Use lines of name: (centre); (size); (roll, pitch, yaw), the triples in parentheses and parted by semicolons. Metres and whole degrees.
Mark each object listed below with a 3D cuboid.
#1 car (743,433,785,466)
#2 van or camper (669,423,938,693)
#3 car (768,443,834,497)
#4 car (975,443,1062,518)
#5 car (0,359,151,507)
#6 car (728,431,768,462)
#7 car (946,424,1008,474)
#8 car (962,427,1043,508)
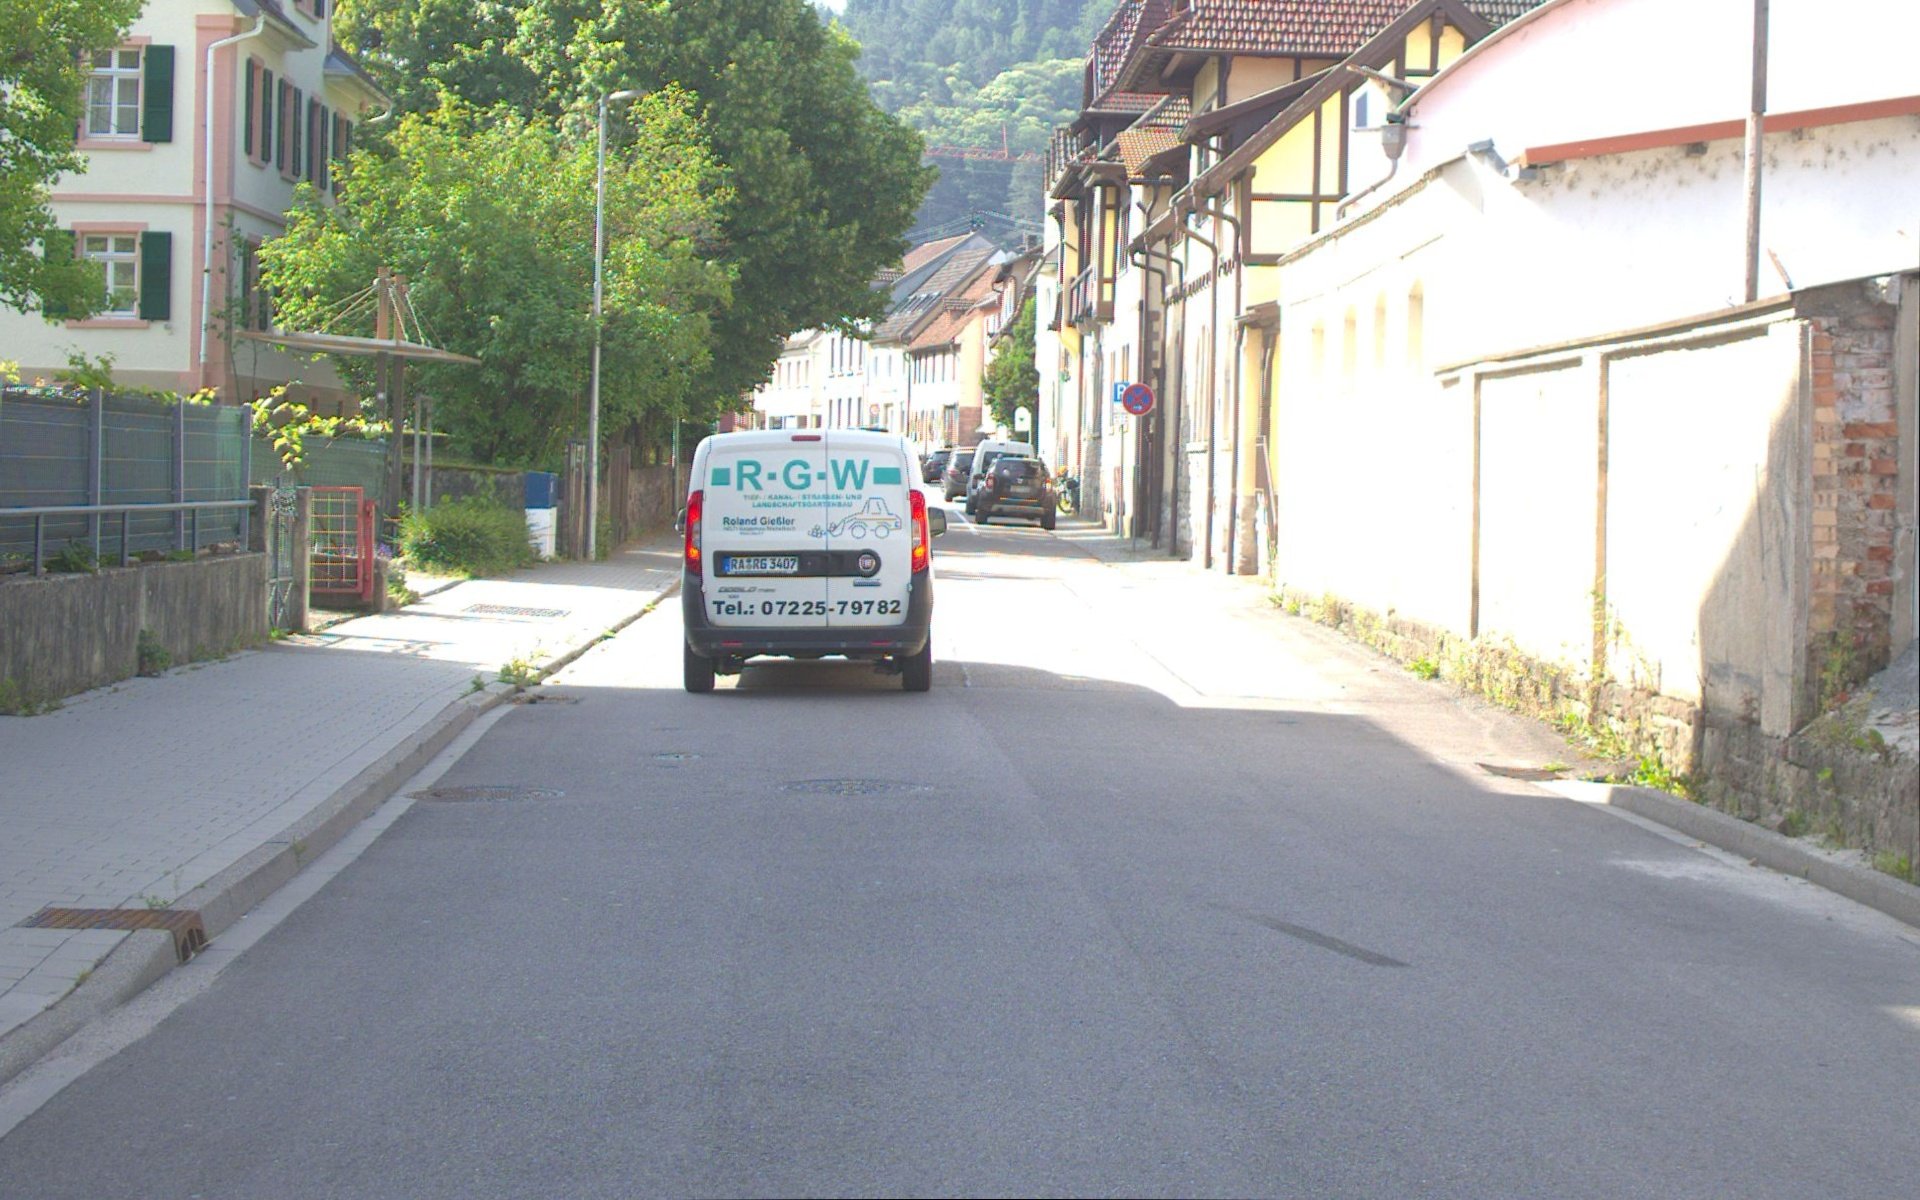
car: (-11.379, -8.749, 199.649); (1.771, 1.792, 4.002); (1, 3, -13)
van or camper: (-1.154, -0.375, 25.559); (1.828, 1.838, 4.189); (0, 2, -2)
car: (-8.703, -7.085, 187.123); (2.874, 2.825, 6.126); (0, 3, -9)
car: (1.346, -2.825, 80.563); (1.810, 1.591, 3.927); (4, 3, -1)
car: (-12.111, -2.240, 45.446); (1.822, 1.766, 4.683); (5, 2, -3)
car: (-12.704, -9.198, 205.796); (1.771, 1.792, 4.002); (1, 3, -13)
car: (0.514, -4.709, 107.149); (1.669, 1.502, 4.001); (1, 3, -3)
car: (1.095, -3.514, 90.749); (1.871, 2.006, 4.001); (2, 2, -2)
